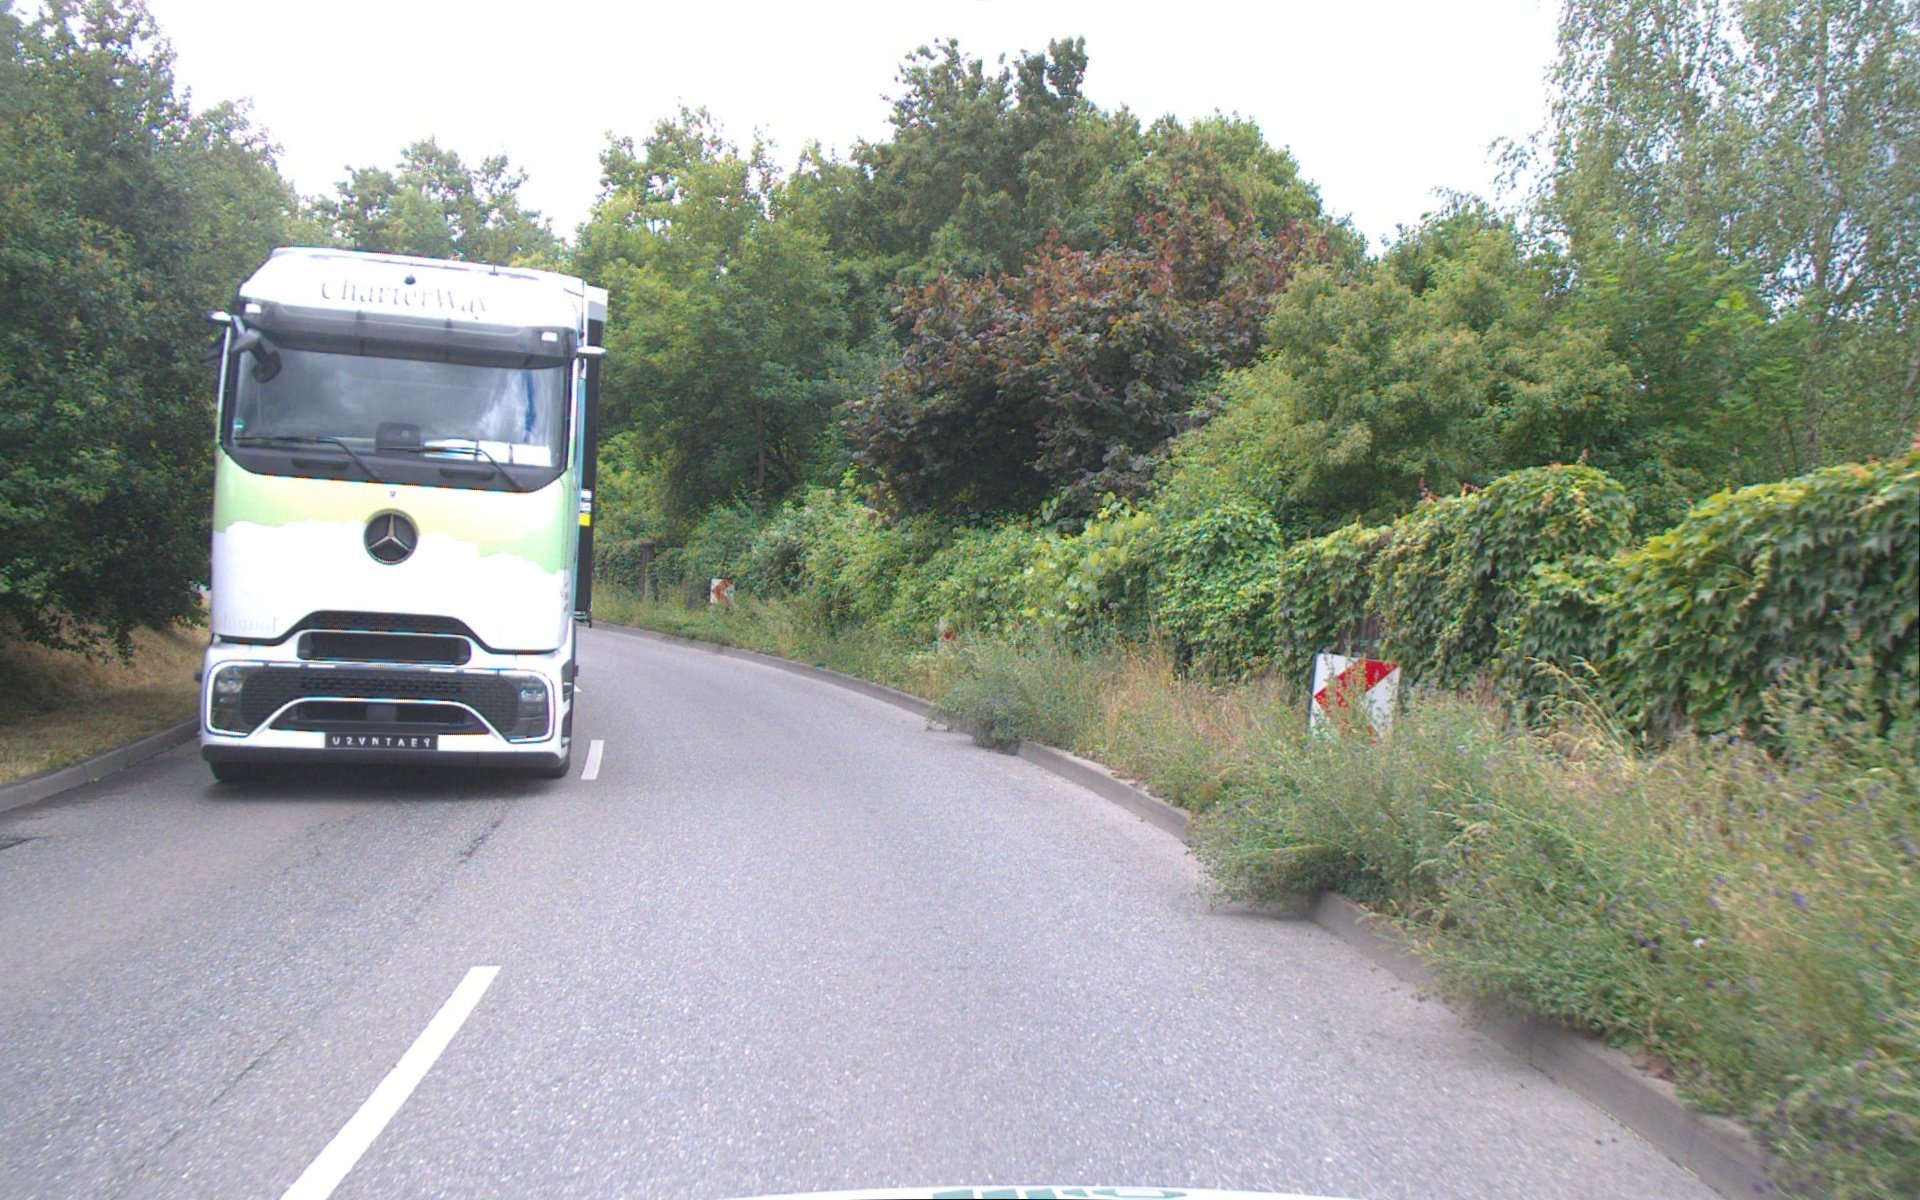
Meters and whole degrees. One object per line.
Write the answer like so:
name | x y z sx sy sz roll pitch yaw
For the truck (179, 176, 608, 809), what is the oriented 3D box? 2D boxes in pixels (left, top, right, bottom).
truck | -4.344 -0.760 13.908 2.657 4.019 6.310 0 1 -13

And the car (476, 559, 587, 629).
car | -10.096 -0.112 38.773 1.817 1.509 3.967 -1 -1 -25

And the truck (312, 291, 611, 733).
truck | -6.077 -0.983 22.091 2.657 4.019 13.792 0 1 -12
